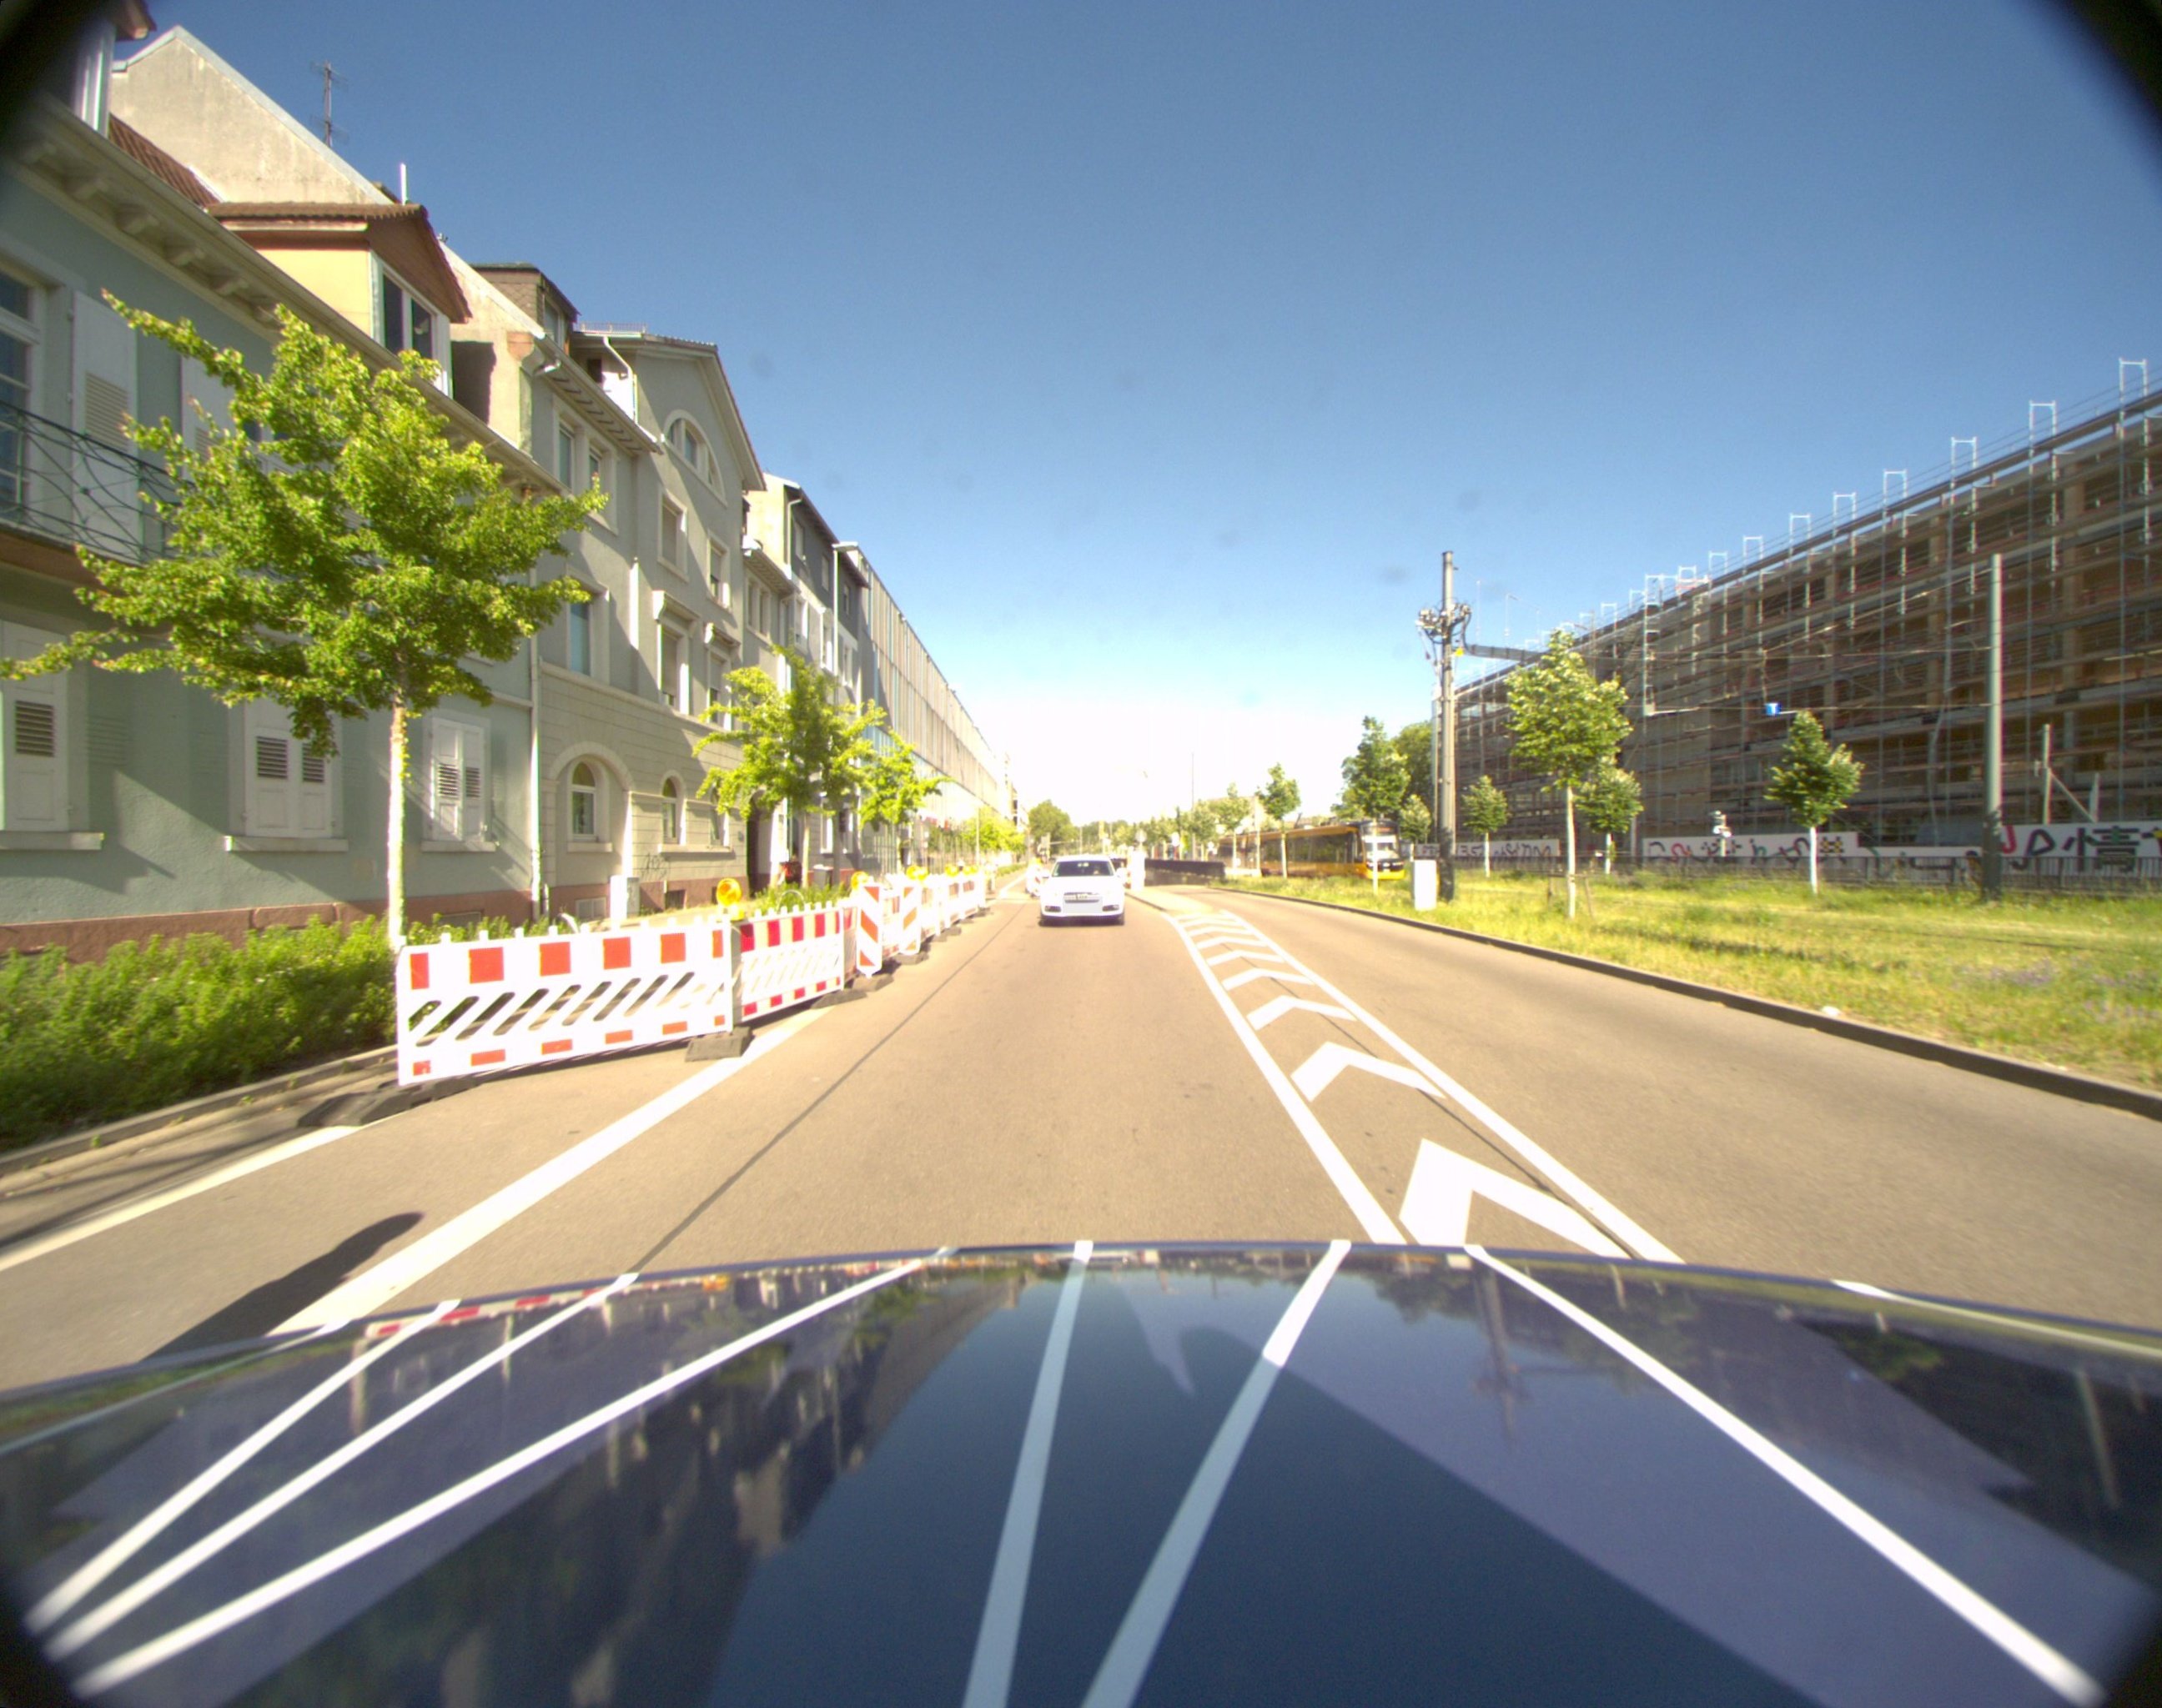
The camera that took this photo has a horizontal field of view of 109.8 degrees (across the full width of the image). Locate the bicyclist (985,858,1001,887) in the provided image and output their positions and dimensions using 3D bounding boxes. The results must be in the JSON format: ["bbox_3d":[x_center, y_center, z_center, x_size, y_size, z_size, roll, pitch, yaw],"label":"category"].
[{"bbox_3d":[-4.549,0.947,39.349,0.756,1.454,0.587,-1,1,-7],"label":"bicyclist"}]

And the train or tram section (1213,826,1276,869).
[{"bbox_3d":[14.810,-0.588,70.172,2.823,3.617,12.786,0,0,-1],"label":"train or tram section"}]

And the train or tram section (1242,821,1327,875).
[{"bbox_3d":[15.021,-0.437,57.369,2.823,3.617,12.786,0,0,-1],"label":"train or tram section"}]

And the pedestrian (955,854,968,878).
[{"bbox_3d":[-9.986,0.995,63.443,0.877,1.913,0.895,2,2,-2],"label":"pedestrian"}]

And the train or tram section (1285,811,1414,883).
[{"bbox_3d":[15.224,-0.377,44.575,2.823,3.617,12.786,0,0,-1],"label":"train or tram section"}]

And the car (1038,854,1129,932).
[{"bbox_3d":[0.086,0.841,18.470,1.934,1.624,4.000,-2,0,1],"label":"car"}]

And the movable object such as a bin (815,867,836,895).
[{"bbox_3d":[-10.215,1.078,30.412,0.590,1.101,0.703,-1,0,0],"label":"movable object such as a bin"}]

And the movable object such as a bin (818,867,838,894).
[{"bbox_3d":[-10.392,1.100,31.225,0.604,1.076,0.703,-1,0,0],"label":"movable object such as a bin"}]

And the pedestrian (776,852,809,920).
[{"bbox_3d":[-8.327,0.914,21.955,0.796,1.917,0.769,-1,0,-17],"label":"pedestrian"}]

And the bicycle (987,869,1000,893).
[{"bbox_3d":[-4.541,1.373,39.367,0.610,1.144,1.986,-1,1,-6],"label":"bicycle"}]
